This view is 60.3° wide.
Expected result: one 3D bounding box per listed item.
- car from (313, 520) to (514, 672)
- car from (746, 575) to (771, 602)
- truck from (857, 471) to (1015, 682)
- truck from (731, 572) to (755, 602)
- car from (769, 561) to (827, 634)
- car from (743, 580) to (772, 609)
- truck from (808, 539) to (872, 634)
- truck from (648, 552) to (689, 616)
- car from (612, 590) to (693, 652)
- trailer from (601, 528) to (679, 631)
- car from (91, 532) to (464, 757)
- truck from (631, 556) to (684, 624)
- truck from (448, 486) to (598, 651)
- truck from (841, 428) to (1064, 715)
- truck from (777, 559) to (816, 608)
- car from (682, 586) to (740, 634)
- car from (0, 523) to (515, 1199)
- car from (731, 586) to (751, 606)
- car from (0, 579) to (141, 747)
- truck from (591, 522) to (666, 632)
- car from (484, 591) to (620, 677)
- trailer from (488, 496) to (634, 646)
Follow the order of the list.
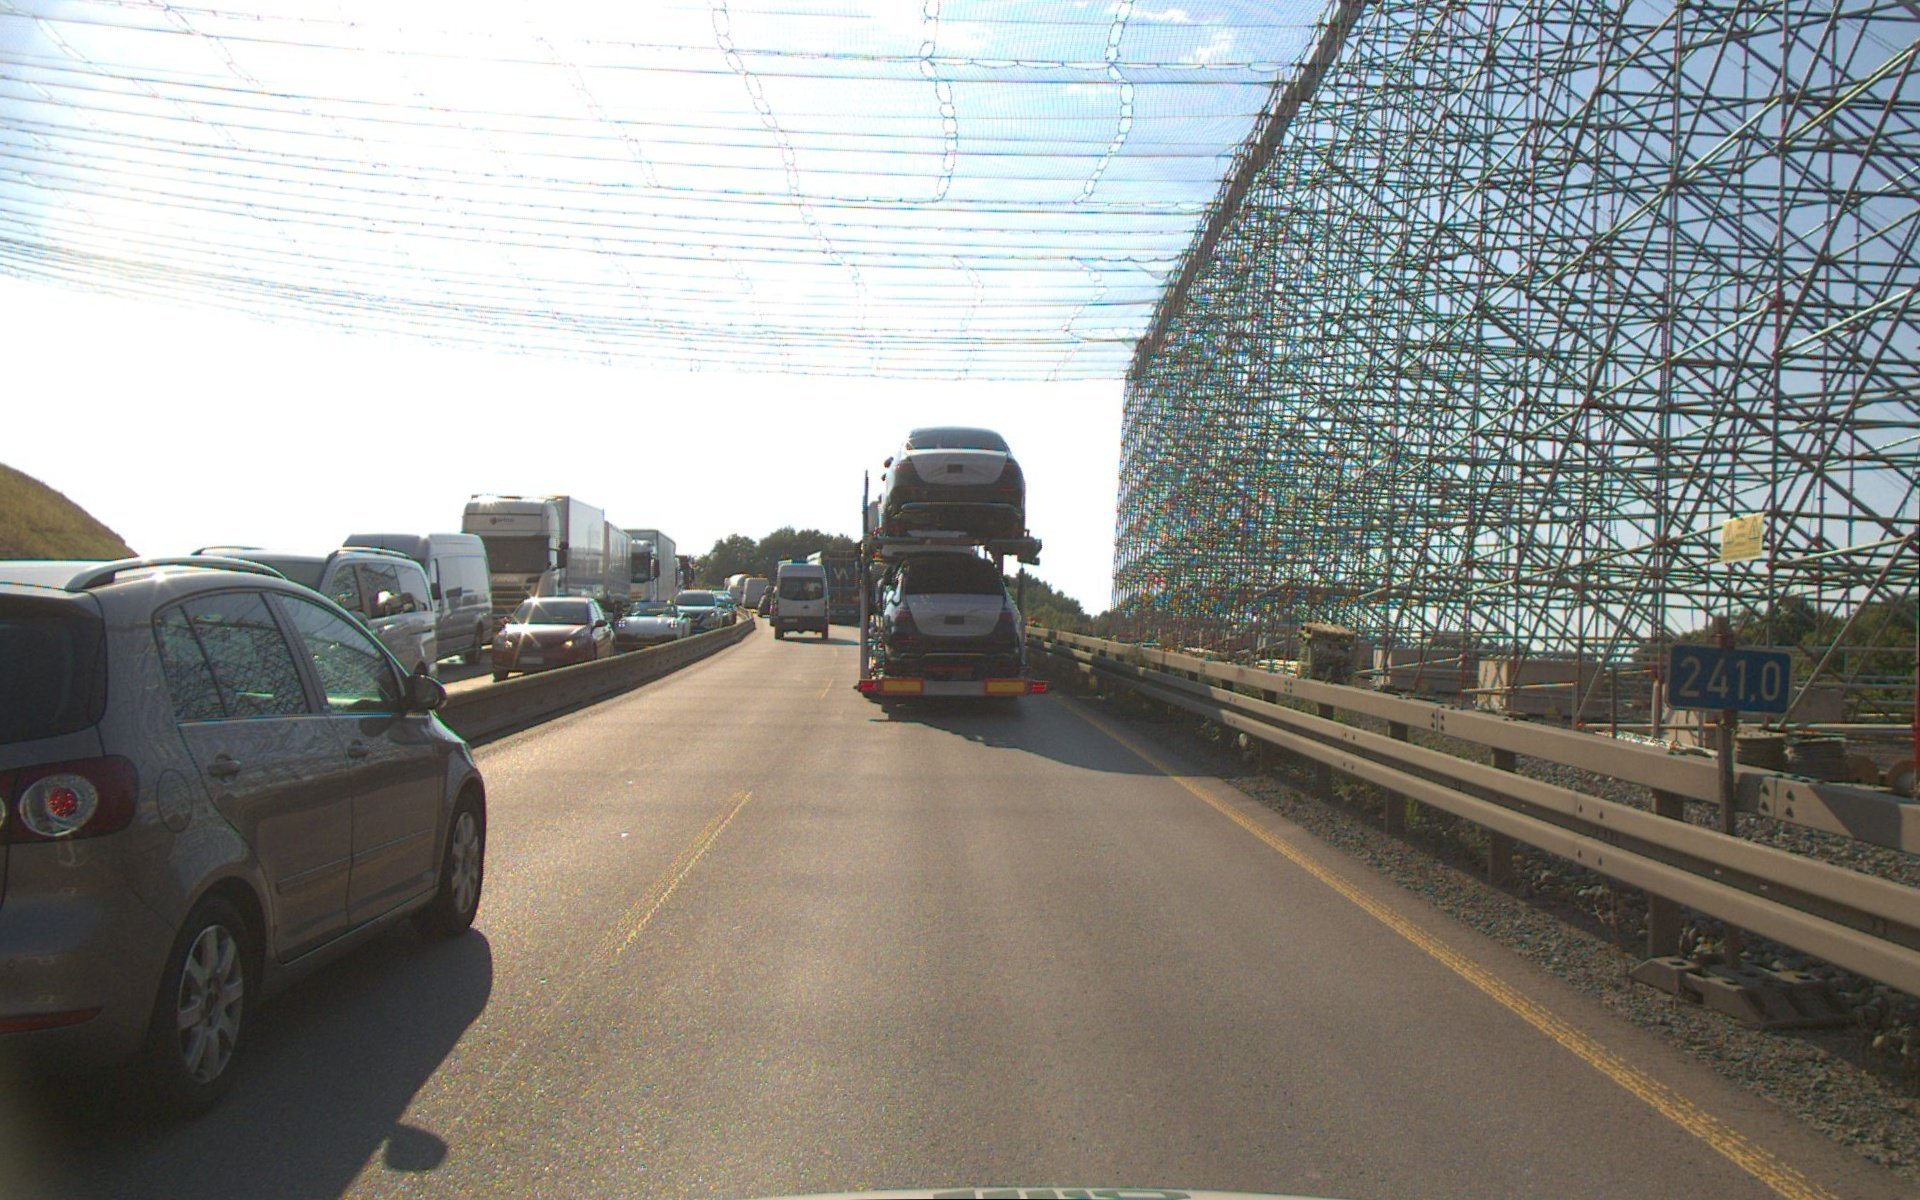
[{"bbox_3d":[-10.992,-0.057,33.953,2.197,2.760,7.076,1,0,-4],"label":"car"},{"bbox_3d":[-15.644,-0.873,128.343,1.601,2.049,3.989,1,0,-11],"label":"car"},{"bbox_3d":[-0.744,-0.422,35.522,2.782,3.858,9.978,1,0,-4],"label":"truck"},{"bbox_3d":[-24.097,-1.392,183.771,2.542,3.226,6.664,1,0,-8],"label":"truck"},{"bbox_3d":[-5.987,-0.069,60.658,1.885,2.536,5.399,1,0,-8],"label":"car"},{"bbox_3d":[-13.319,-0.356,108.772,1.792,1.803,3.993,1,0,-7],"label":"car"},{"bbox_3d":[-7.230,-0.737,98.370,3.224,5.328,9.919,1,0,-7],"label":"truck"},{"bbox_3d":[-18.185,-0.996,103.279,2.388,3.851,5.604,1,0,-10],"label":"truck"},{"bbox_3d":[-8.375,0.561,45.341,1.773,1.595,4.361,1,0,-6],"label":"car"},{"bbox_3d":[-13.842,-0.811,72.411,2.381,4.032,14.075,1,0,-7],"label":"trailer"},{"bbox_3d":[-6.636,0.393,16.813,1.772,1.902,5.279,1,0,-3],"label":"car"},{"bbox_3d":[-15.749,-0.506,86.396,2.368,3.429,5.608,1,0,-7],"label":"truck"},{"bbox_3d":[-11.476,-0.764,44.053,2.579,3.978,7.197,1,0,-5],"label":"truck"},{"bbox_3d":[-0.259,-0.338,26.055,2.743,3.558,10.601,1,0,-2],"label":"truck"},{"bbox_3d":[-12.947,-1.238,130.383,2.484,3.712,8.886,1,0,-9],"label":"truck"},{"bbox_3d":[-8.799,0.343,58.660,1.773,1.595,4.361,1,0,-6],"label":"car"},{"bbox_3d":[-2.940,0.628,5.833,1.657,1.624,3.999,1,0,0],"label":"car"},{"bbox_3d":[-20.994,-0.371,158.446,1.803,1.868,3.992,1,0,-8],"label":"car"},{"bbox_3d":[-9.879,0.578,15.859,1.756,1.567,4.907,1,0,-2],"label":"car"},{"bbox_3d":[-13.056,-0.871,65.459,2.426,4.116,5.608,1,0,-7],"label":"truck"},{"bbox_3d":[-7.449,0.594,30.563,1.773,1.444,4.513,1,0,-6],"label":"car"},{"bbox_3d":[-12.279,-0.776,52.082,2.618,4.086,13.316,1,0,-6],"label":"trailer"}]
